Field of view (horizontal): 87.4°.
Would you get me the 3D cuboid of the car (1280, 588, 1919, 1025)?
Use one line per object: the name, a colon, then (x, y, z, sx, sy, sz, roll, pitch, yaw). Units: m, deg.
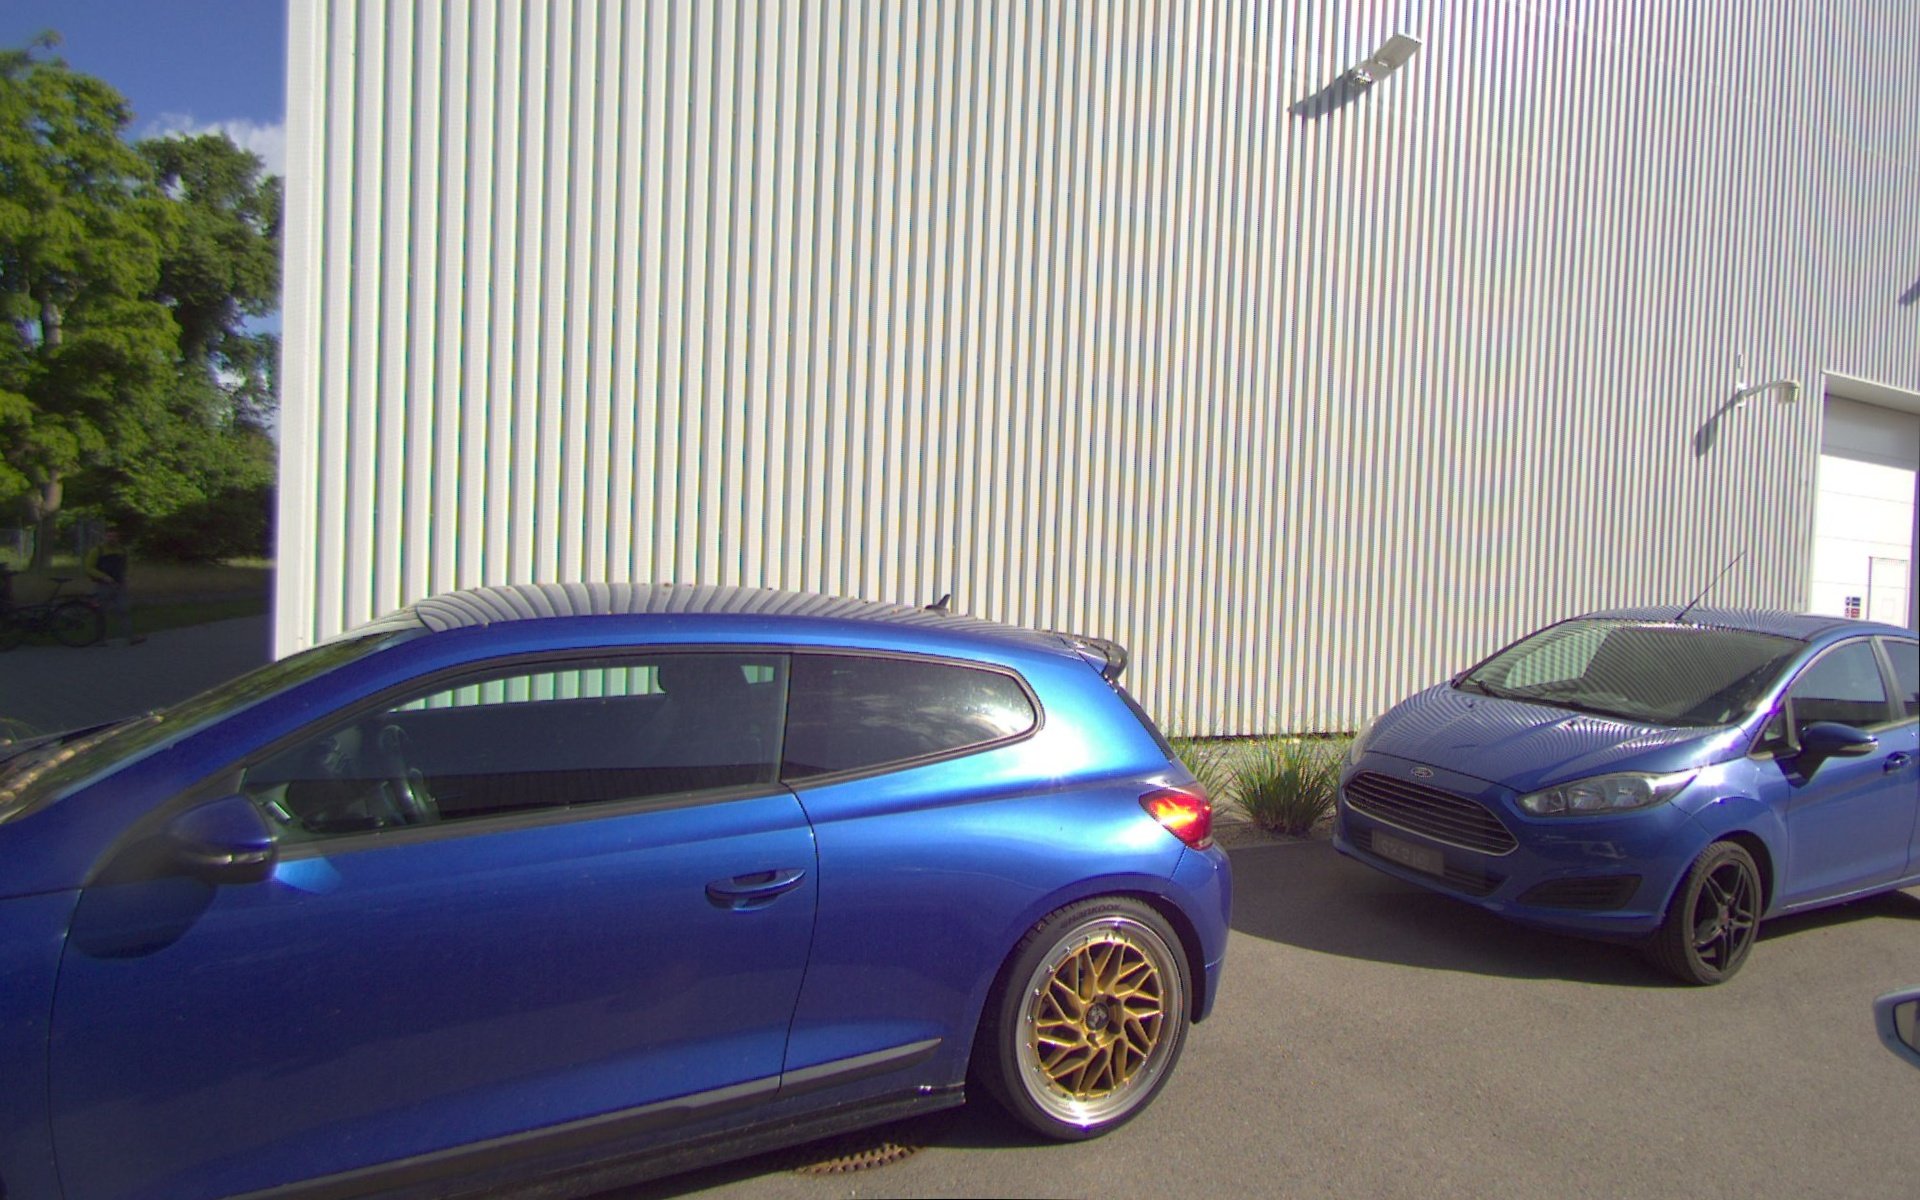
car: (3.623, 0.773, 5.040, 3.715, 1.467, 1.614, 2, 2, -26)

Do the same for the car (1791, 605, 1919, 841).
car: (8.025, 0.905, 7.153, 3.825, 1.465, 1.645, 2, 4, -25)

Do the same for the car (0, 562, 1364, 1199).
car: (-1.003, 0.672, 2.748, 3.901, 1.368, 1.663, 2, 2, -26)

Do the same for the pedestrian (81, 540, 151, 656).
pedestrian: (-13.145, -0.034, 15.656, 0.502, 1.751, 0.636, 2, 1, 9)

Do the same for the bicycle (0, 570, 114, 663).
bicycle: (-14.083, 0.207, 14.496, 2.599, 1.283, 1.135, 2, 1, -20)
